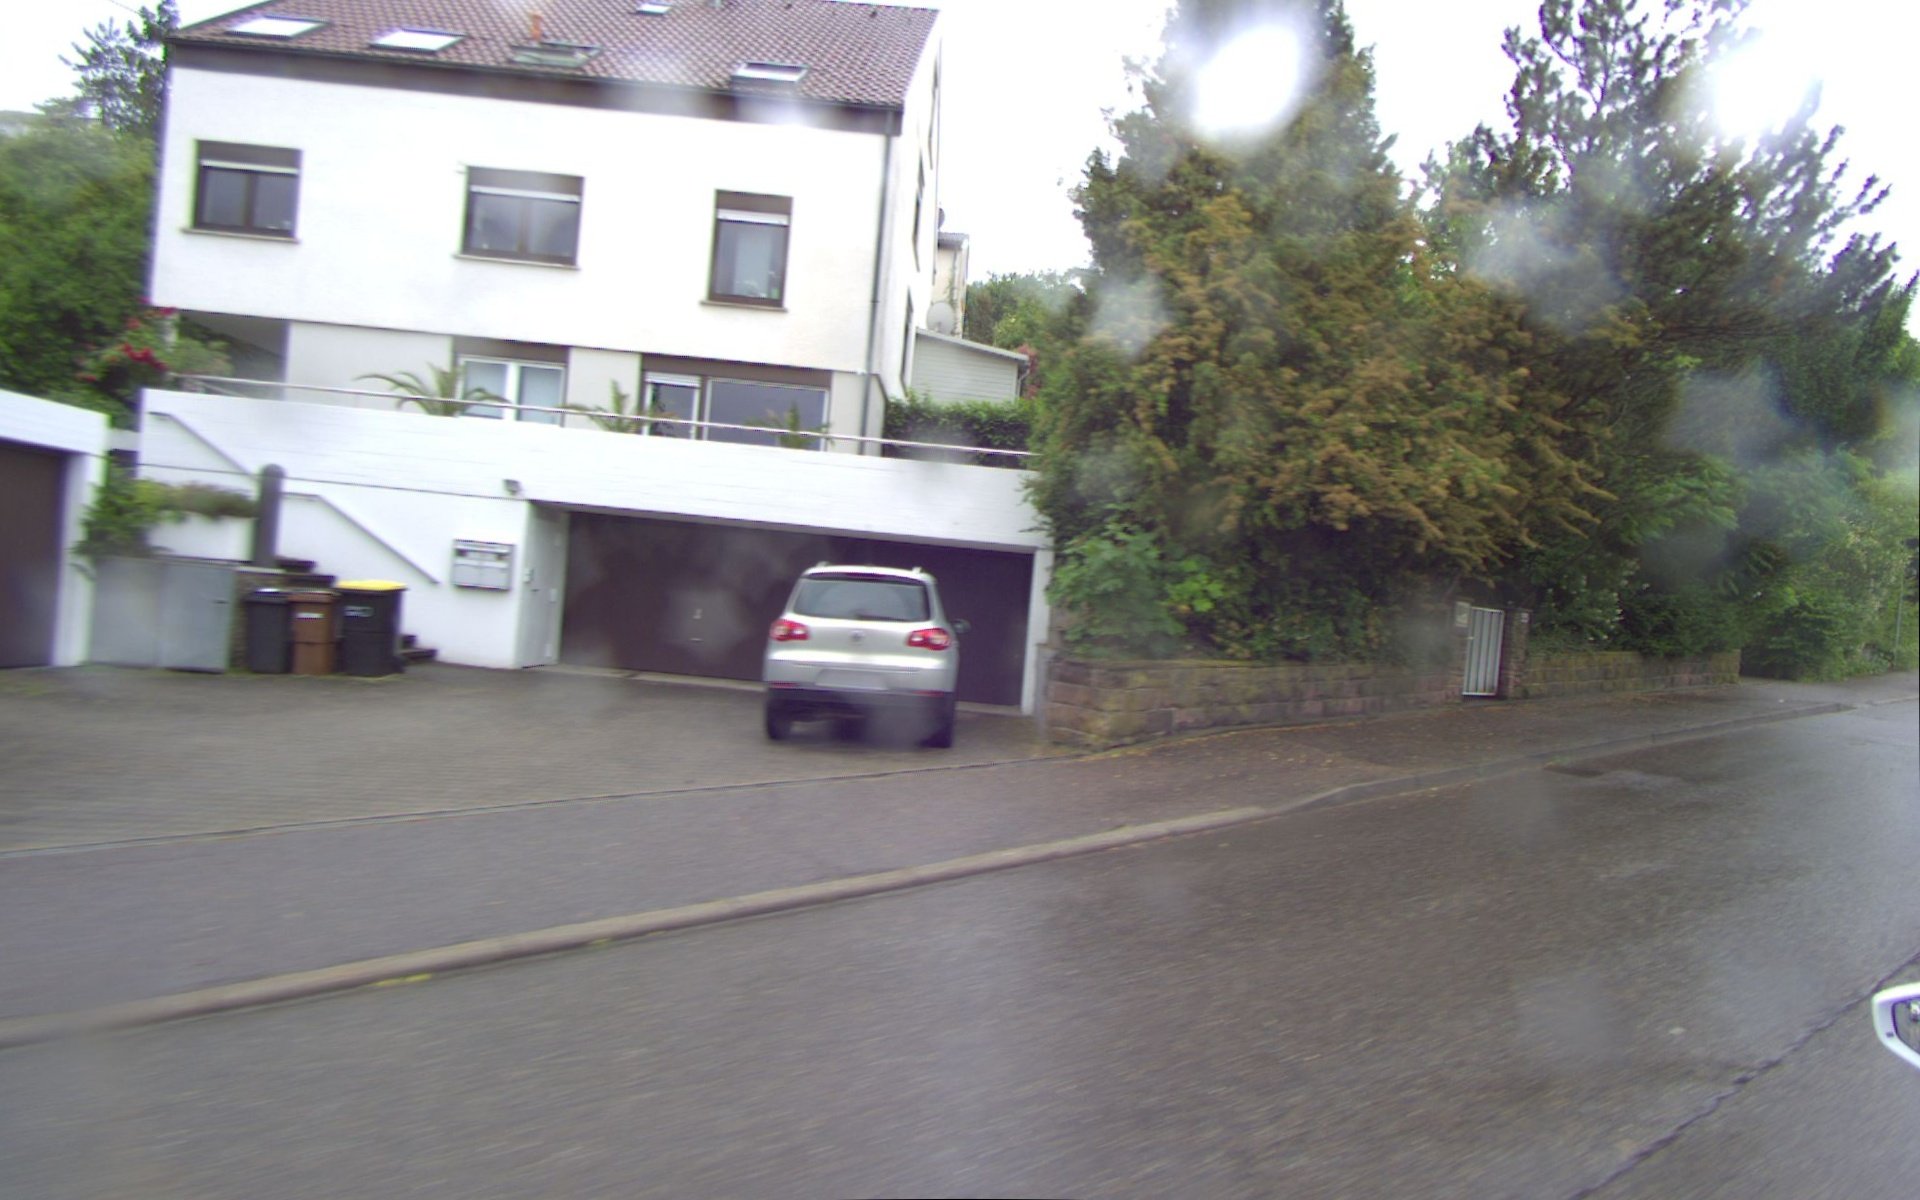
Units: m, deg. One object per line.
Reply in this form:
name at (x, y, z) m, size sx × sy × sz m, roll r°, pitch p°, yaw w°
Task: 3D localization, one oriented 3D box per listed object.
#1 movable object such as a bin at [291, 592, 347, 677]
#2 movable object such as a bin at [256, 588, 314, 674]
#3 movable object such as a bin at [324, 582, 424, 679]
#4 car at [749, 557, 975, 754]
movable object such as a bin at (-7.299, 0.386, 11.456) m, size 0.312 × 0.941 × 0.505 m, roll 2°, pitch 1°, yaw -3°
movable object such as a bin at (-7.646, 0.340, 11.387) m, size 0.312 × 0.941 × 0.505 m, roll 2°, pitch 1°, yaw -3°
movable object such as a bin at (-6.795, 0.336, 11.688) m, size 0.687 × 1.067 × 0.817 m, roll 2°, pitch 1°, yaw -3°
car at (-0.797, 0.558, 10.453) m, size 1.826 × 1.605 × 3.947 m, roll 2°, pitch -3°, yaw 1°
